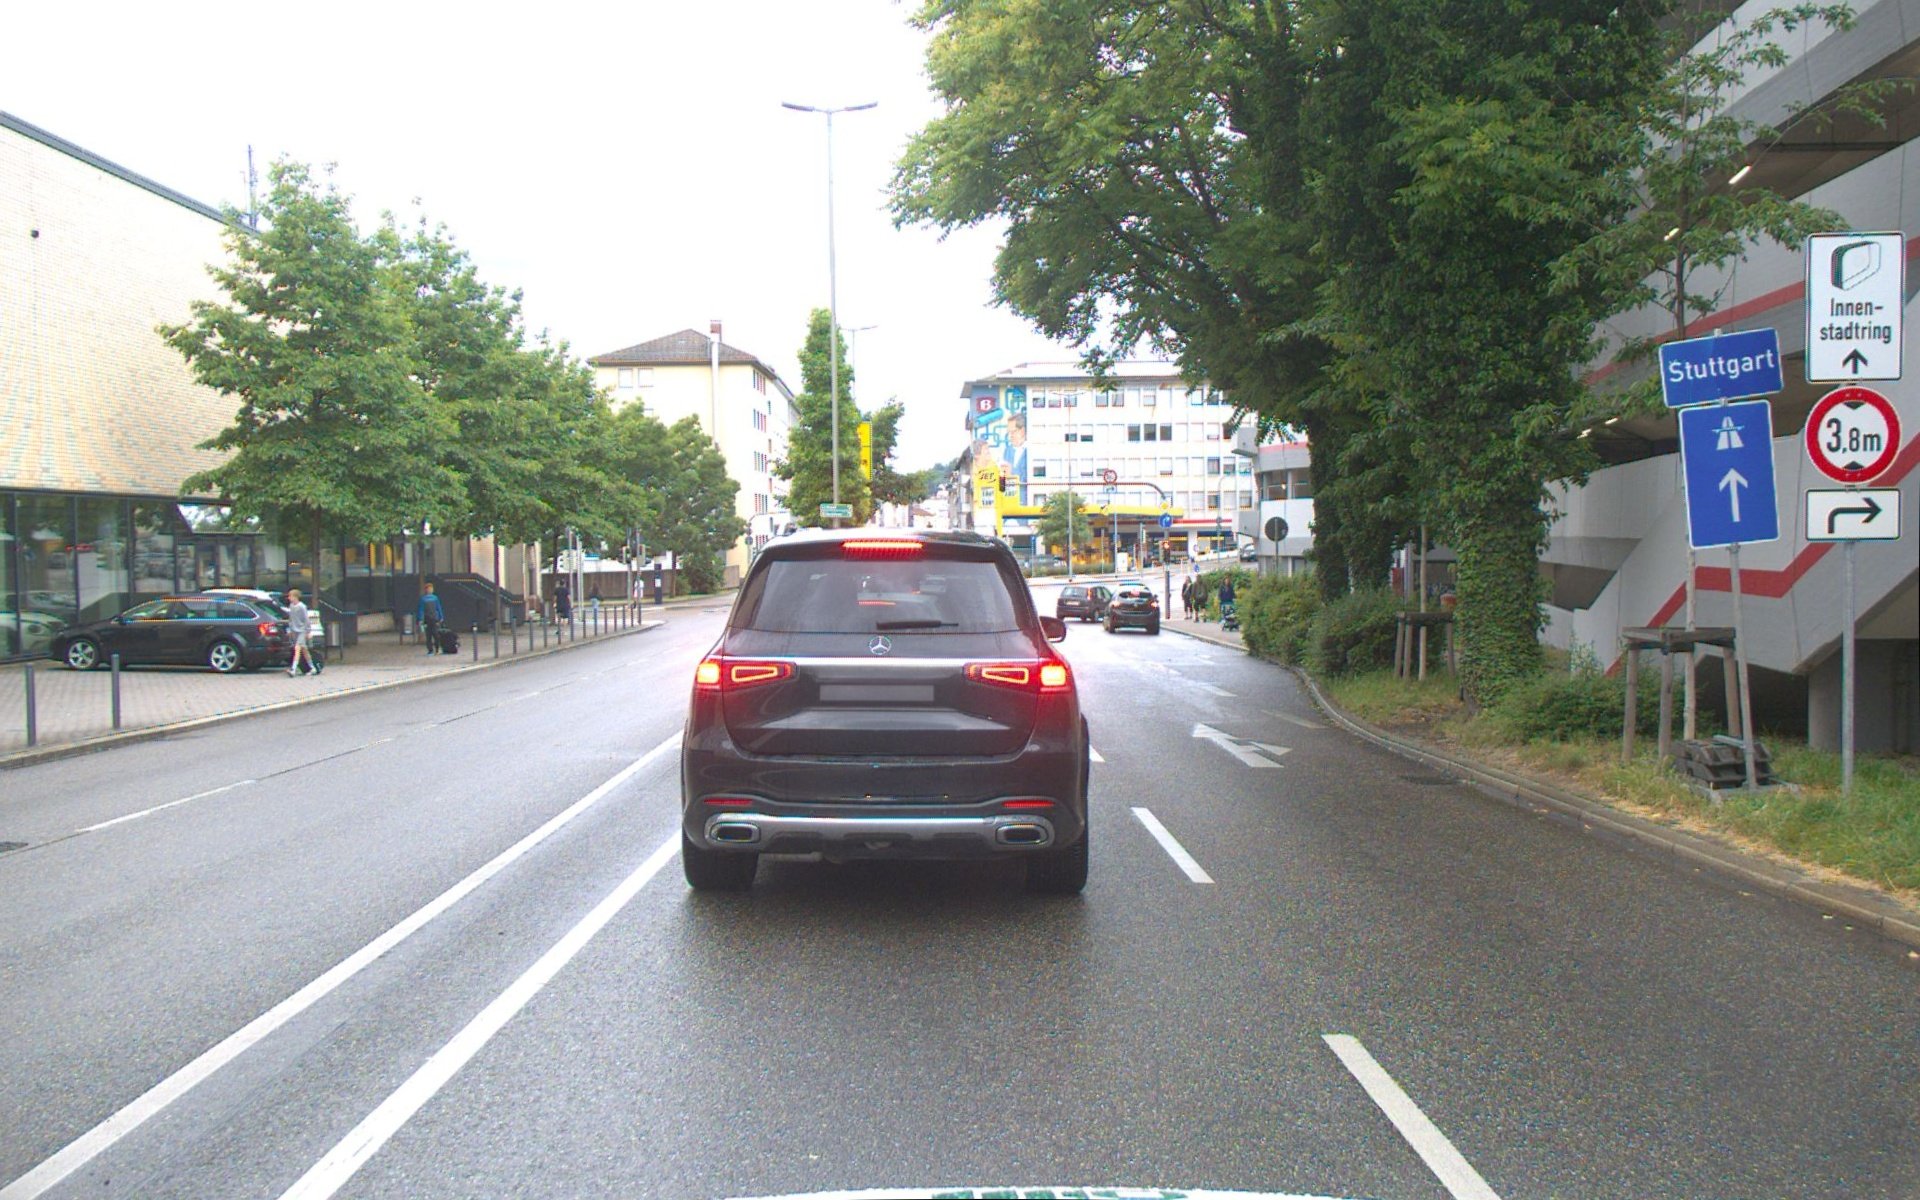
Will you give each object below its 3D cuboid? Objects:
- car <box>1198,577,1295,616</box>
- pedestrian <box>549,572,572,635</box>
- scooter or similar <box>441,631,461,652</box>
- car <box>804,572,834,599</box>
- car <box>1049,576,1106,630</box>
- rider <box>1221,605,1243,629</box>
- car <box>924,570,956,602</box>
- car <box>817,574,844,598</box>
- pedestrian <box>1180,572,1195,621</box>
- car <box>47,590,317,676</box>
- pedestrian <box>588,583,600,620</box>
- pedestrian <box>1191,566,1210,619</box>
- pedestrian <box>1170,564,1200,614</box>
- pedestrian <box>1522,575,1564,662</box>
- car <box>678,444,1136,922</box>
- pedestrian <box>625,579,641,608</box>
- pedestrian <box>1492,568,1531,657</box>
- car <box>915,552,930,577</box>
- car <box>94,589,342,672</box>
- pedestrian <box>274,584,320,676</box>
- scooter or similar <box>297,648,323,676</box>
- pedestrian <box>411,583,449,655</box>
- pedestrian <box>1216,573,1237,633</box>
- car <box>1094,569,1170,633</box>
[{"bbox_3d":[15.286,-0.198,88.403,4.715,2.049,1.996,0,1,-9],"label":"car"},{"bbox_3d":[-13.115,0.104,54.296,0.576,2.049,0.749,1,-1,-3],"label":"pedestrian"},{"bbox_3d":[-12.915,1.055,42.002,0.352,0.545,0.499,1,-2,-2],"label":"scooter or similar"},{"bbox_3d":[-10.413,-1.065,122.482,1.954,1.908,5.139,1,0,-3],"label":"car"},{"bbox_3d":[4.651,0.115,65.935,1.953,2.049,3.999,1,0,-1],"label":"car"},{"bbox_3d":[8.852,0.556,53.885,0.679,0.753,0.633,1,-1,7],"label":"rider"},{"bbox_3d":[-1.383,-0.943,113.535,1.954,2.049,3.997,1,0,-4],"label":"car"},{"bbox_3d":[-11.576,-1.241,147.296,1.958,2.049,3.989,1,0,-11],"label":"car"},{"bbox_3d":[9.208,-0.131,66.995,0.509,1.944,0.556,1,-1,-1],"label":"pedestrian"},{"bbox_3d":[-15.224,0.624,32.578,4.383,1.615,1.997,0,0,-8],"label":"car"},{"bbox_3d":[-16.837,0.062,76.091,0.391,1.673,0.567,1,-1,-1],"label":"pedestrian"},{"bbox_3d":[9.141,-0.290,62.801,0.607,1.969,0.610,1,-1,-1],"label":"pedestrian"},{"bbox_3d":[9.270,-0.444,68.177,1.005,2.049,0.998,1,0,-2],"label":"pedestrian"},{"bbox_3d":[10.311,0.326,29.265,0.569,1.528,0.504,1,-1,4],"label":"pedestrian"},{"bbox_3d":[-0.297,0.377,9.198,1.953,2.049,3.998,1,0,-2],"label":"car"},{"bbox_3d":[-16.846,-0.313,85.287,0.697,1.487,0.598,1,-1,-2],"label":"pedestrian"},{"bbox_3d":[9.742,0.224,29.239,0.539,1.559,0.488,1,-1,5],"label":"pedestrian"},{"bbox_3d":[-5.187,-4.849,226.424,1.953,2.036,4.023,1,24,-2],"label":"car"},{"bbox_3d":[-15.462,0.625,34.697,4.333,1.601,1.997,1,2,-8],"label":"car"},{"bbox_3d":[-12.642,0.573,31.537,0.662,1.726,0.479,1,1,-1],"label":"pedestrian"},{"bbox_3d":[-12.547,1.191,31.945,0.274,0.509,0.616,1,0,-2],"label":"scooter or similar"},{"bbox_3d":[-13.184,0.490,41.181,0.675,1.756,0.753,1,-3,-2],"label":"pedestrian"},{"bbox_3d":[8.807,0.102,54.672,0.648,1.951,0.729,1,-1,11],"label":"pedestrian"},{"bbox_3d":[5.719,-0.001,55.390,1.954,2.049,3.998,0,1,-3],"label":"car"}]
